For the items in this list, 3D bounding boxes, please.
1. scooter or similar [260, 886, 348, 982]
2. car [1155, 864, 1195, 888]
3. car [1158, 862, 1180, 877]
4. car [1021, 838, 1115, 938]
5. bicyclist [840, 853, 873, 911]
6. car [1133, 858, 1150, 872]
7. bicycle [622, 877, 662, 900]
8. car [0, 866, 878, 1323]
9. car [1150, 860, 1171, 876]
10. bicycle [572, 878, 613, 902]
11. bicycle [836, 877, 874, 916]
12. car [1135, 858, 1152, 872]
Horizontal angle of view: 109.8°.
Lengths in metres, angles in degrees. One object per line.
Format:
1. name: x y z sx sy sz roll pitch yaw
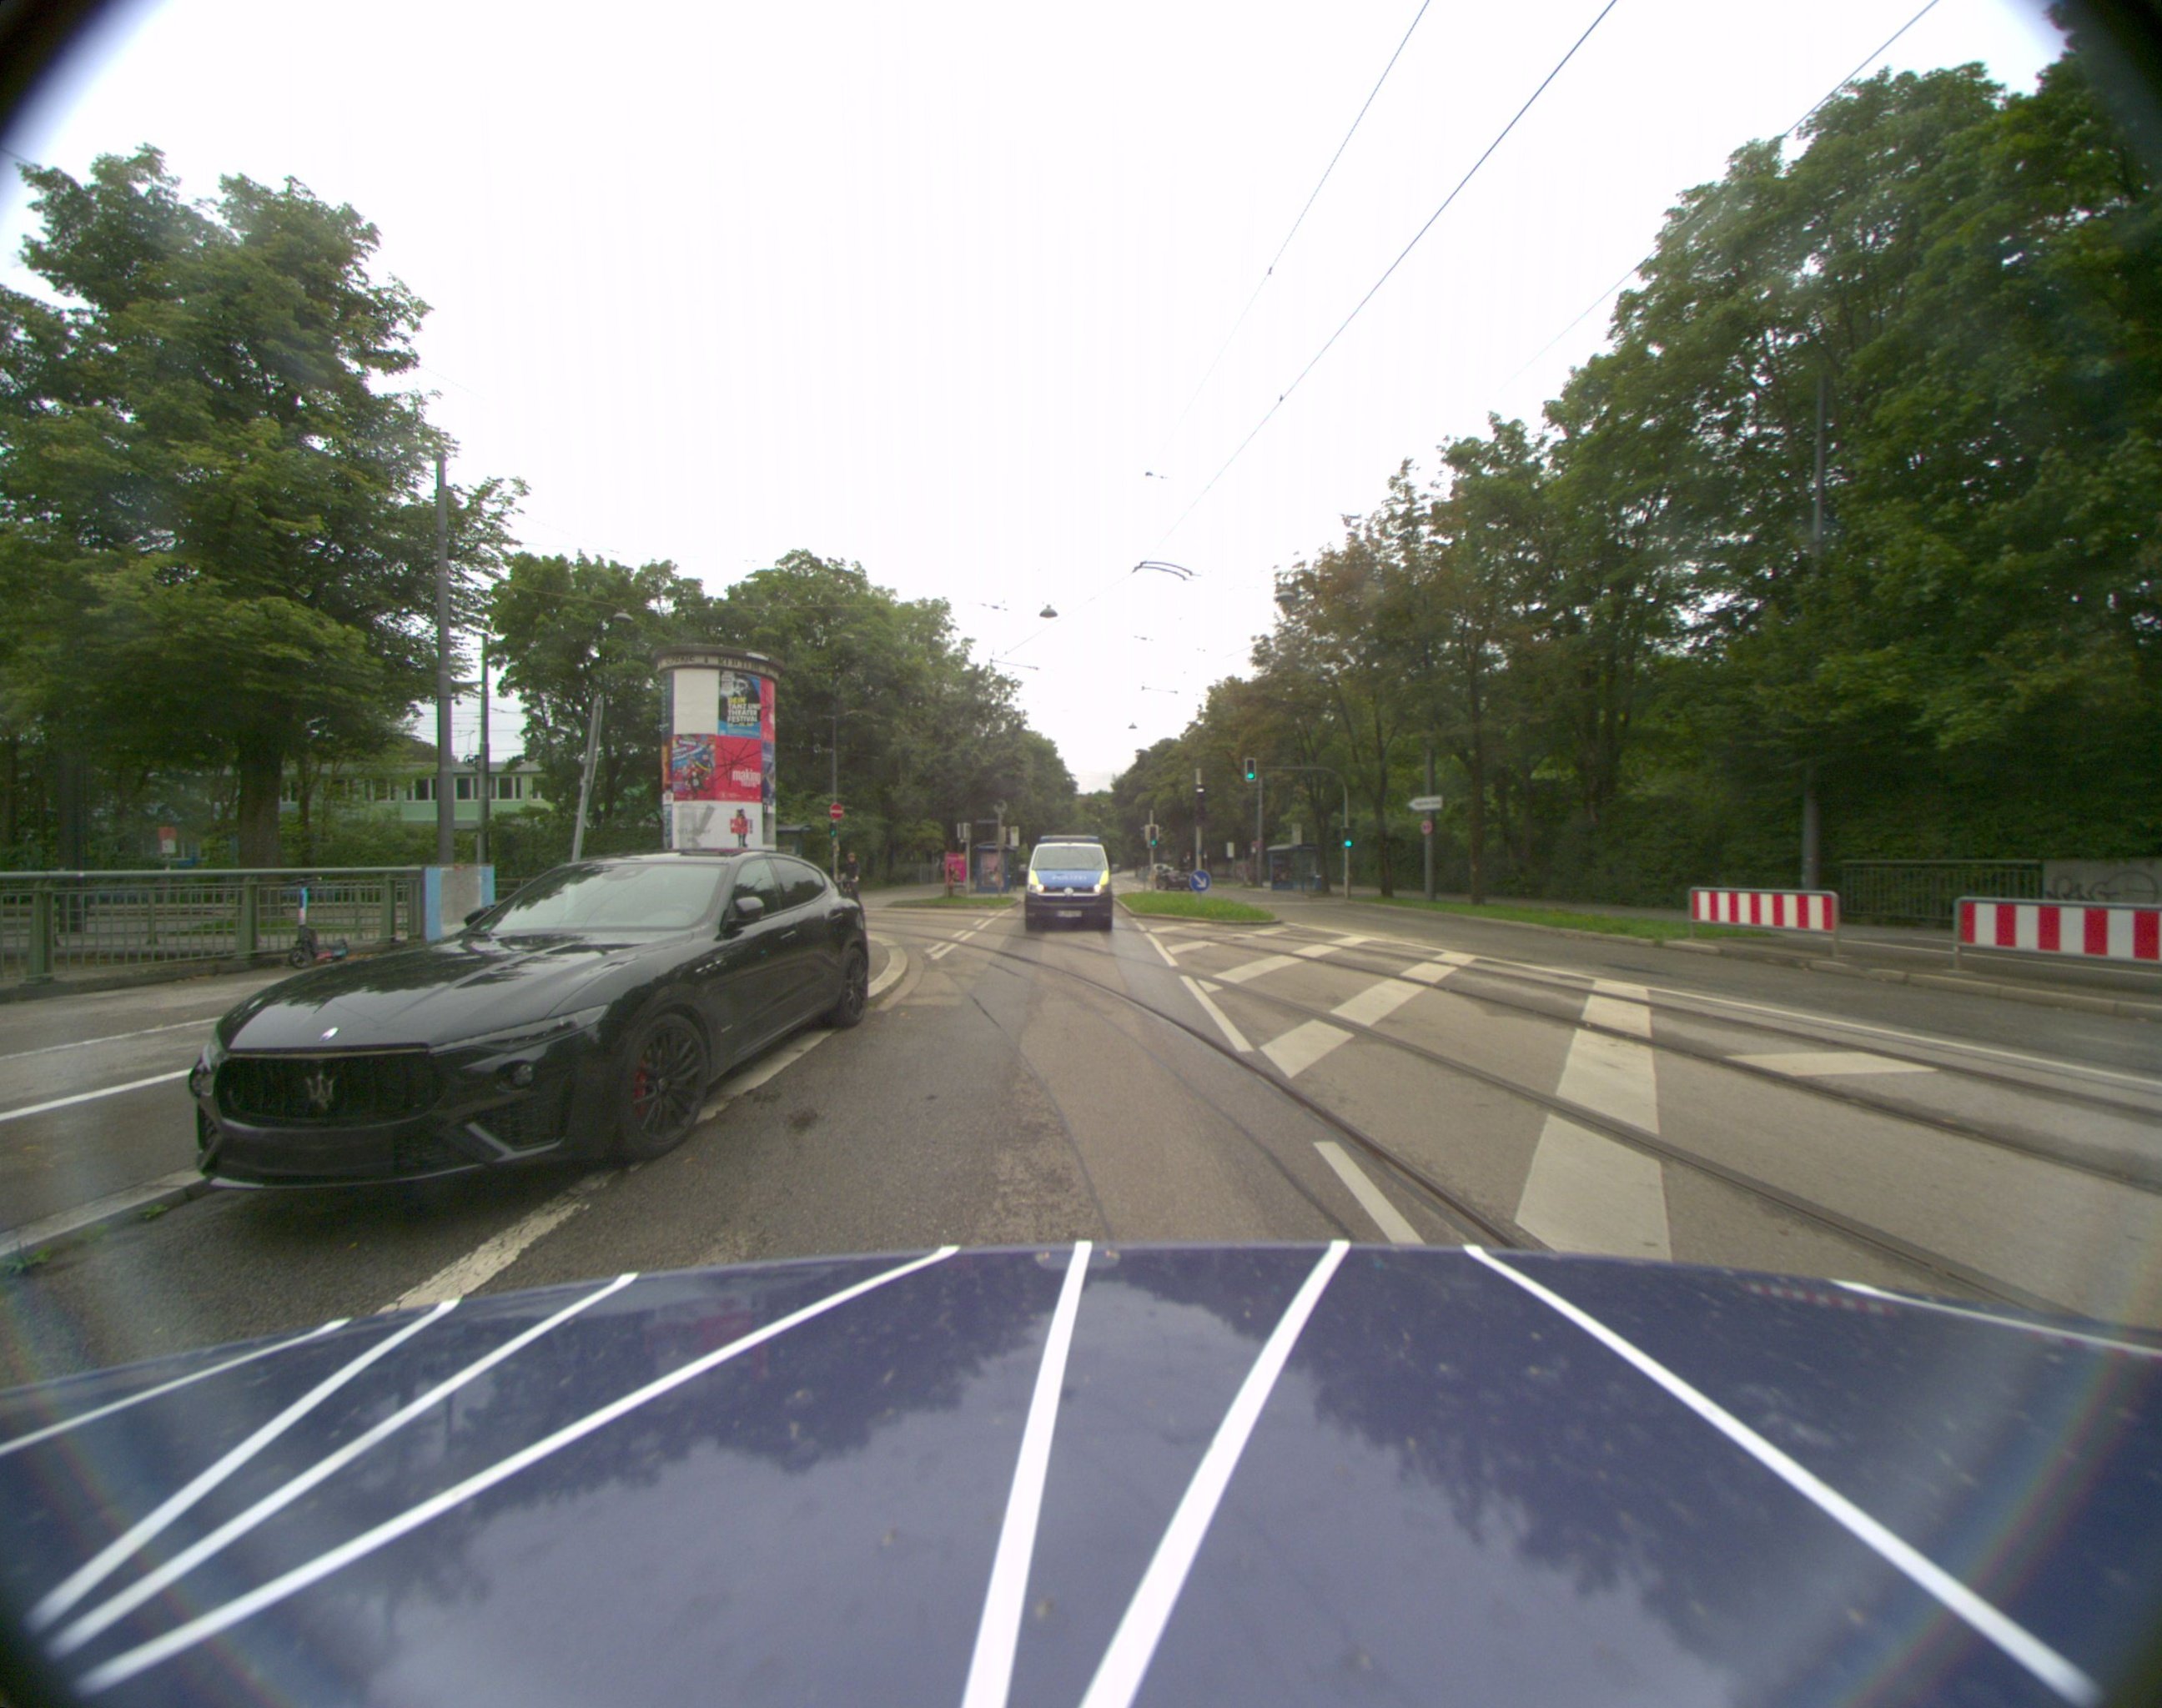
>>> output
1. scooter or similar: -10.623 1.065 10.423 0.225 1.205 1.020 -2 1 -8
2. car: 5.769 1.346 47.192 1.628 1.380 4.839 1 -1 -3
3. car: 9.496 1.649 82.198 1.888 1.532 3.999 -2 0 -1
4. car: -0.307 0.676 18.311 1.903 2.041 5.707 0 0 -1
5. bicyclist: -6.980 0.856 23.623 0.726 1.719 0.726 -2 1 0
6. car: 8.577 1.533 107.753 1.888 1.716 3.999 -2 0 -1
7. bicycle: -18.650 1.447 32.281 1.483 0.946 0.373 -1 1 3
8. car: -3.034 0.943 5.171 1.905 1.600 4.665 -2 0 1
9. car: 9.201 1.597 87.947 1.888 1.716 3.999 -2 0 -1
10. bicycle: -20.797 1.534 32.362 1.483 0.946 0.373 -1 1 3
11. bicycle: -6.946 1.283 23.464 0.580 1.072 1.912 -2 1 -1
12. car: 8.457 1.491 102.609 1.888 1.716 3.999 -2 0 -1
